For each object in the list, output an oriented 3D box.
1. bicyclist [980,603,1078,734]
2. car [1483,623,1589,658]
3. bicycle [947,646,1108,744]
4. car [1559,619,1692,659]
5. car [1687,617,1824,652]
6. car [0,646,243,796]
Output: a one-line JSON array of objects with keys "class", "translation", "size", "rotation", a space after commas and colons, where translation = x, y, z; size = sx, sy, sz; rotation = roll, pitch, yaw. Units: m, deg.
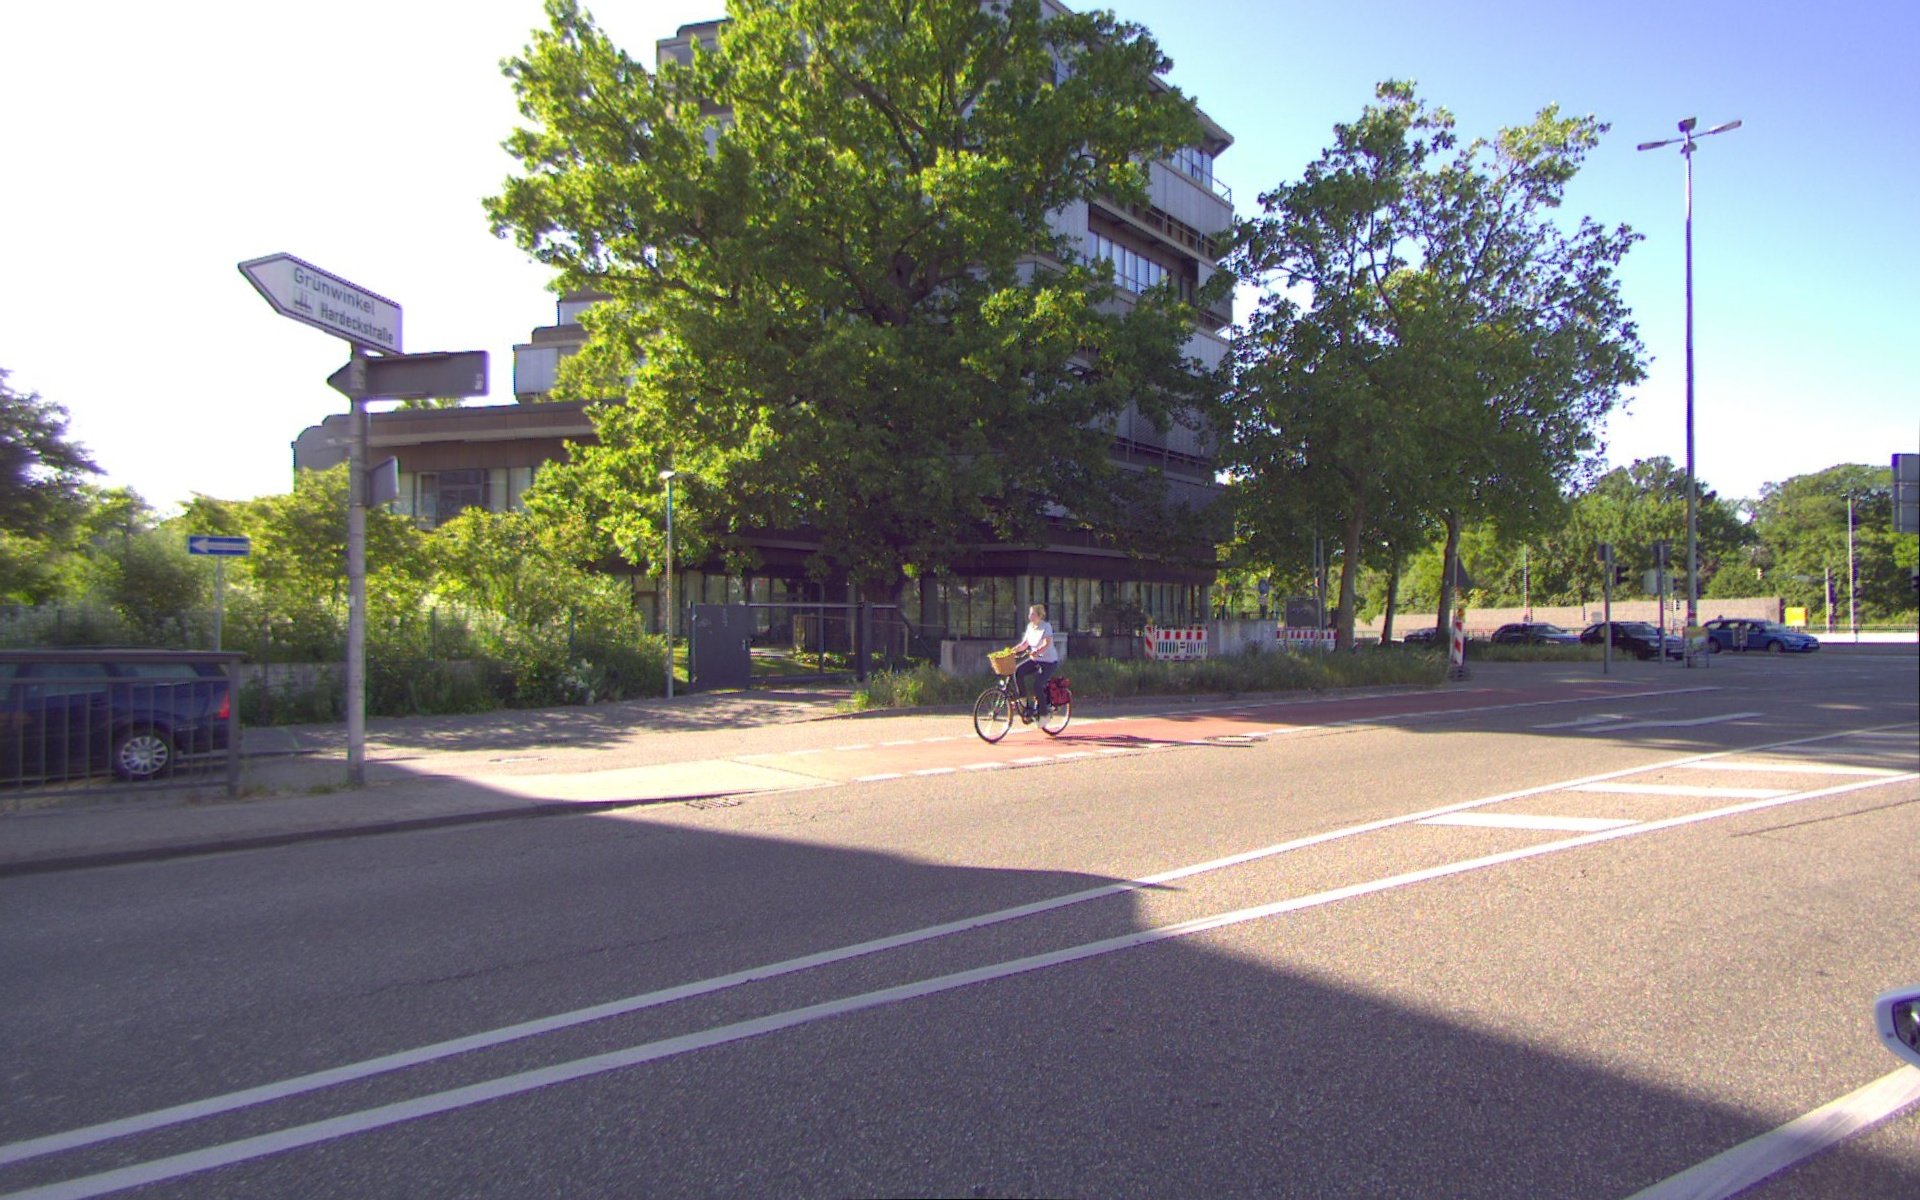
[{"class": "bicyclist", "translation": [0.954, 0.911, 13.850], "size": [1.186, 1.723, 0.682], "rotation": [0, -1, -36]}, {"class": "car", "translation": [25.859, 1.807, 45.285], "size": [1.792, 1.457, 4.446], "rotation": [0, -2, -7]}, {"class": "bicycle", "translation": [0.962, 1.262, 13.845], "size": [2.304, 1.218, 0.682], "rotation": [1, -1, -36]}, {"class": "car", "translation": [25.568, 1.480, 38.804], "size": [1.792, 1.457, 4.446], "rotation": [0, -2, -7]}, {"class": "car", "translation": [34.241, 1.476, 43.399], "size": [1.795, 1.457, 4.439], "rotation": [0, -2, -14]}, {"class": "car", "translation": [-10.771, 1.323, 11.235], "size": [4.411, 1.523, 1.806], "rotation": [1, -2, -38]}]
